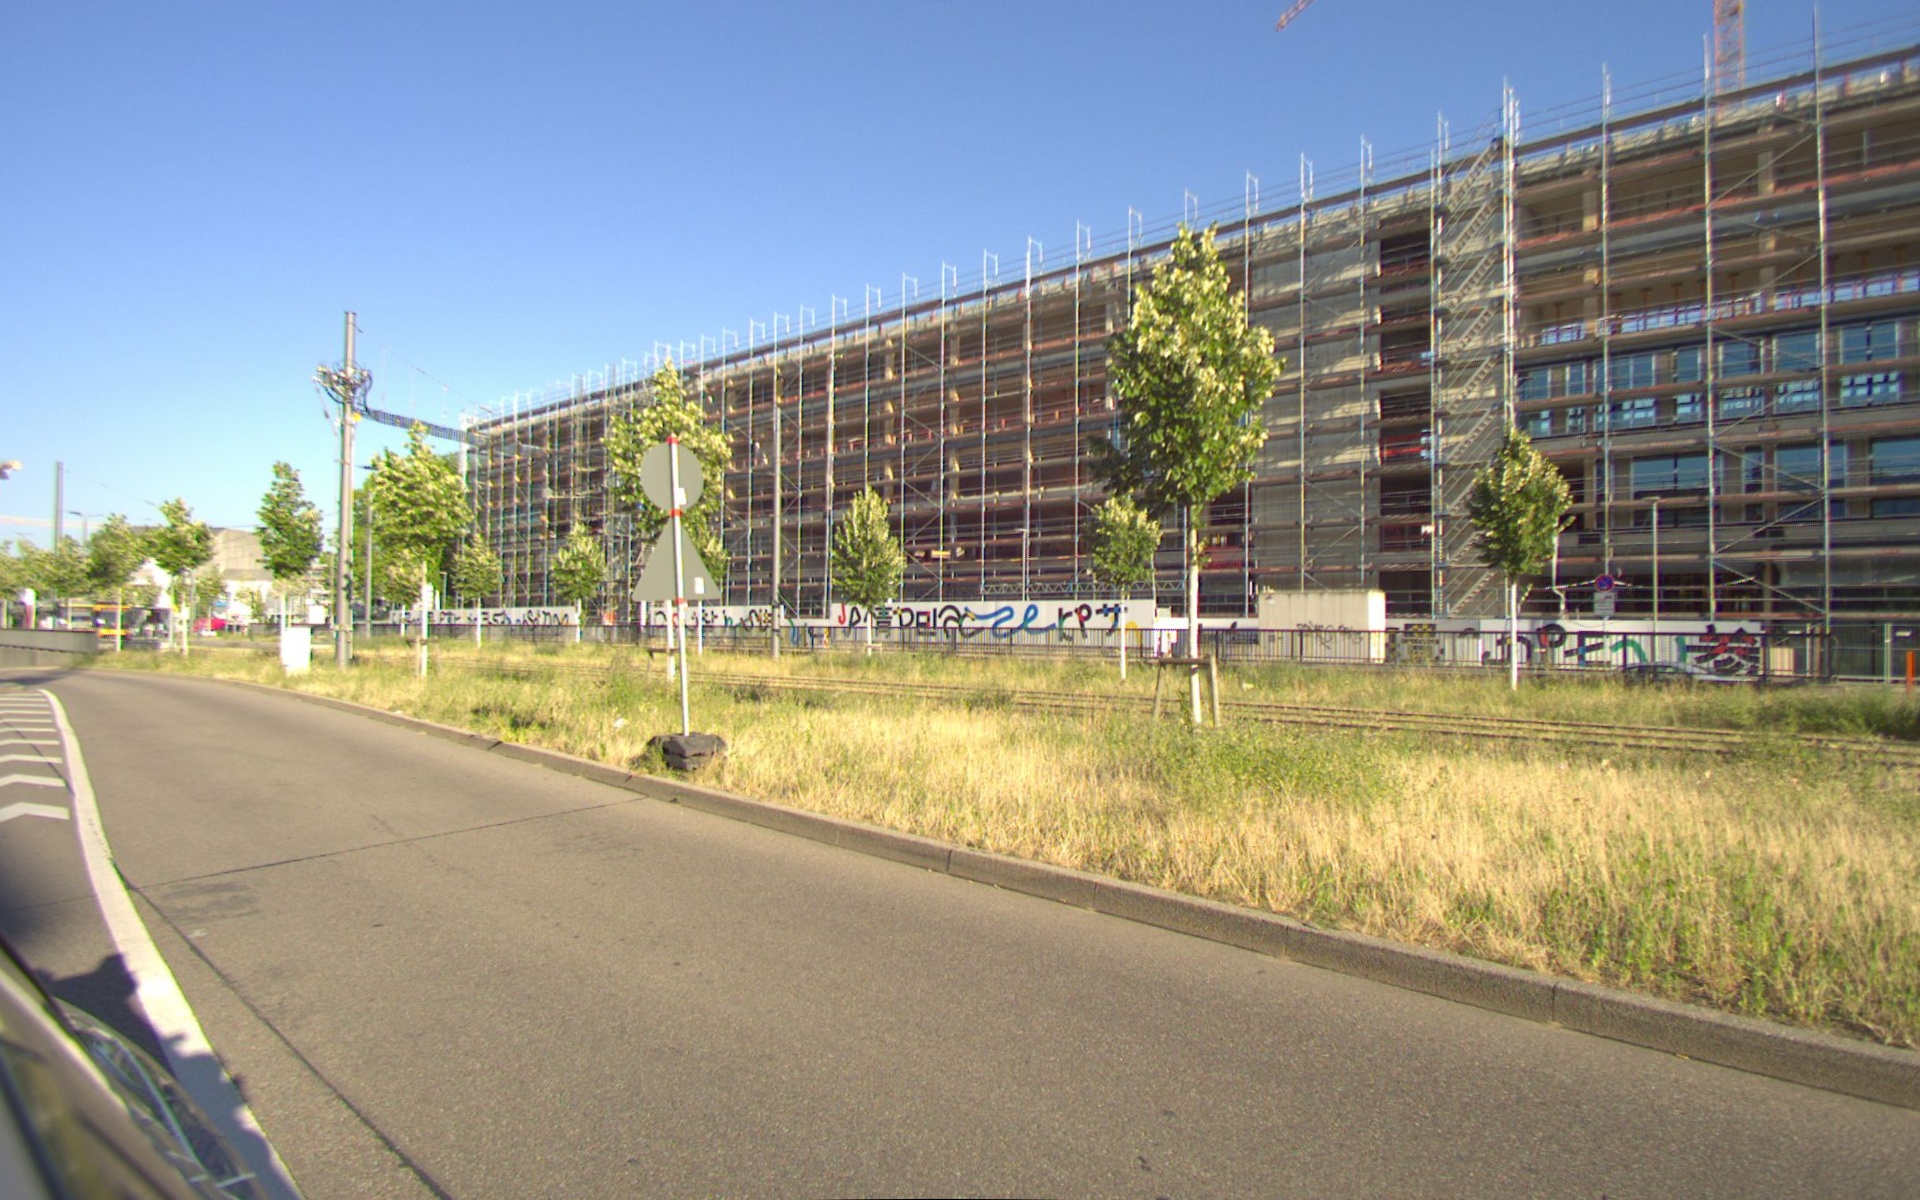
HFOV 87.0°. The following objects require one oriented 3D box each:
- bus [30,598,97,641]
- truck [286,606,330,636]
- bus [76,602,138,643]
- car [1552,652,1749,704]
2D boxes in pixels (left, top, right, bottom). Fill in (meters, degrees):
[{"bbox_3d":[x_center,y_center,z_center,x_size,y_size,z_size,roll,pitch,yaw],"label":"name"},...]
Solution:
[{"bbox_3d":[-71.088,1.583,80.185,8.648,3.247,2.689,-1,-2,40],"label":"bus"},{"bbox_3d":[-58.059,1.878,90.104,4.737,2.593,2.115,-2,-2,41],"label":"truck"},{"bbox_3d":[-71.754,1.931,85.024,8.651,3.247,2.688,-2,-2,41],"label":"bus"},{"bbox_3d":[16.722,1.844,24.604,3.837,1.076,1.606,-1,-2,39],"label":"car"}]
